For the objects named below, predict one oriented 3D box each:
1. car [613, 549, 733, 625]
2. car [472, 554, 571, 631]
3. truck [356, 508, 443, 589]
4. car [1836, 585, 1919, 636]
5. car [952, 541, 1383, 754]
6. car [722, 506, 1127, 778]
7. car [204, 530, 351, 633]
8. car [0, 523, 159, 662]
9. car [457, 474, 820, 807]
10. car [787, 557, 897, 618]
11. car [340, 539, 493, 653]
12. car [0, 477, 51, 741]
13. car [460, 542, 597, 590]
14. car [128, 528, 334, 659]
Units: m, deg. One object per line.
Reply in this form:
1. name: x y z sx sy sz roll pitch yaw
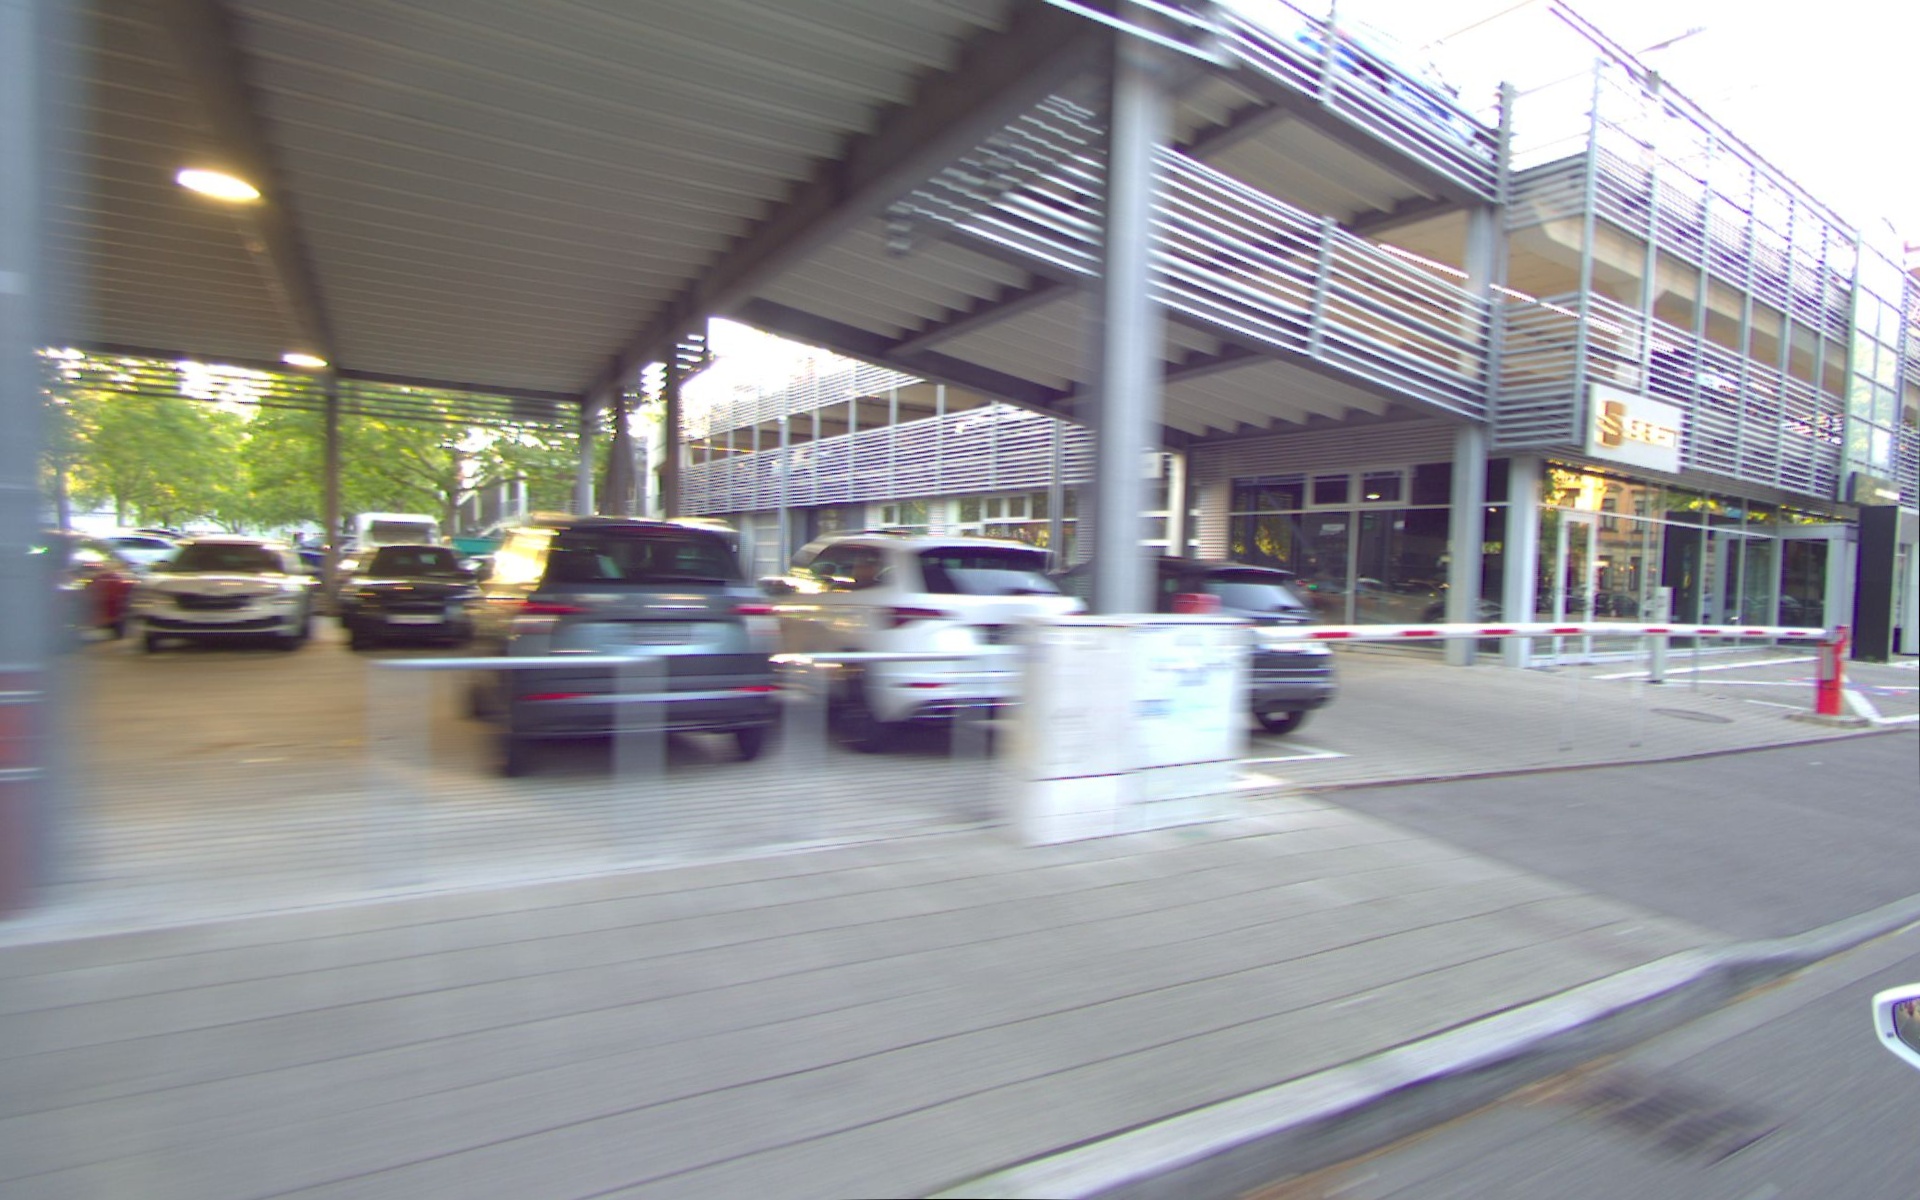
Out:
1. car: -6.597 -0.341 22.791 1.837 1.575 3.963 0 2 -28
2. car: -9.183 -0.207 20.908 1.577 1.445 3.434 1 2 -29
3. truck: -20.616 -1.860 36.752 2.418 2.603 6.877 1 2 -32
4. car: 31.249 0.349 33.773 4.181 1.571 1.690 1 2 -35
5. car: 1.743 0.321 9.720 1.839 1.607 3.965 2 1 -31
6. car: -0.580 0.189 8.523 1.837 1.707 4.062 0 2 -28
7. car: -12.642 -0.387 18.855 1.837 1.707 4.130 0 2 -28
8. car: -12.275 -0.159 13.330 1.837 1.618 4.018 0 2 -28
9. car: -2.606 0.135 7.375 1.837 1.707 4.069 0 2 -28
10. car: -3.501 -0.427 29.254 1.670 1.493 3.804 -3 6 -33
11. car: -8.370 -0.124 15.551 1.837 1.515 4.034 0 2 -28
12. car: -6.528 0.100 5.129 1.837 1.707 4.046 0 2 -28
13. car: -15.989 -1.254 37.247 4.342 1.595 2.282 1 2 -34
14. car: -10.254 -0.156 14.451 1.837 1.600 4.050 0 2 -28
